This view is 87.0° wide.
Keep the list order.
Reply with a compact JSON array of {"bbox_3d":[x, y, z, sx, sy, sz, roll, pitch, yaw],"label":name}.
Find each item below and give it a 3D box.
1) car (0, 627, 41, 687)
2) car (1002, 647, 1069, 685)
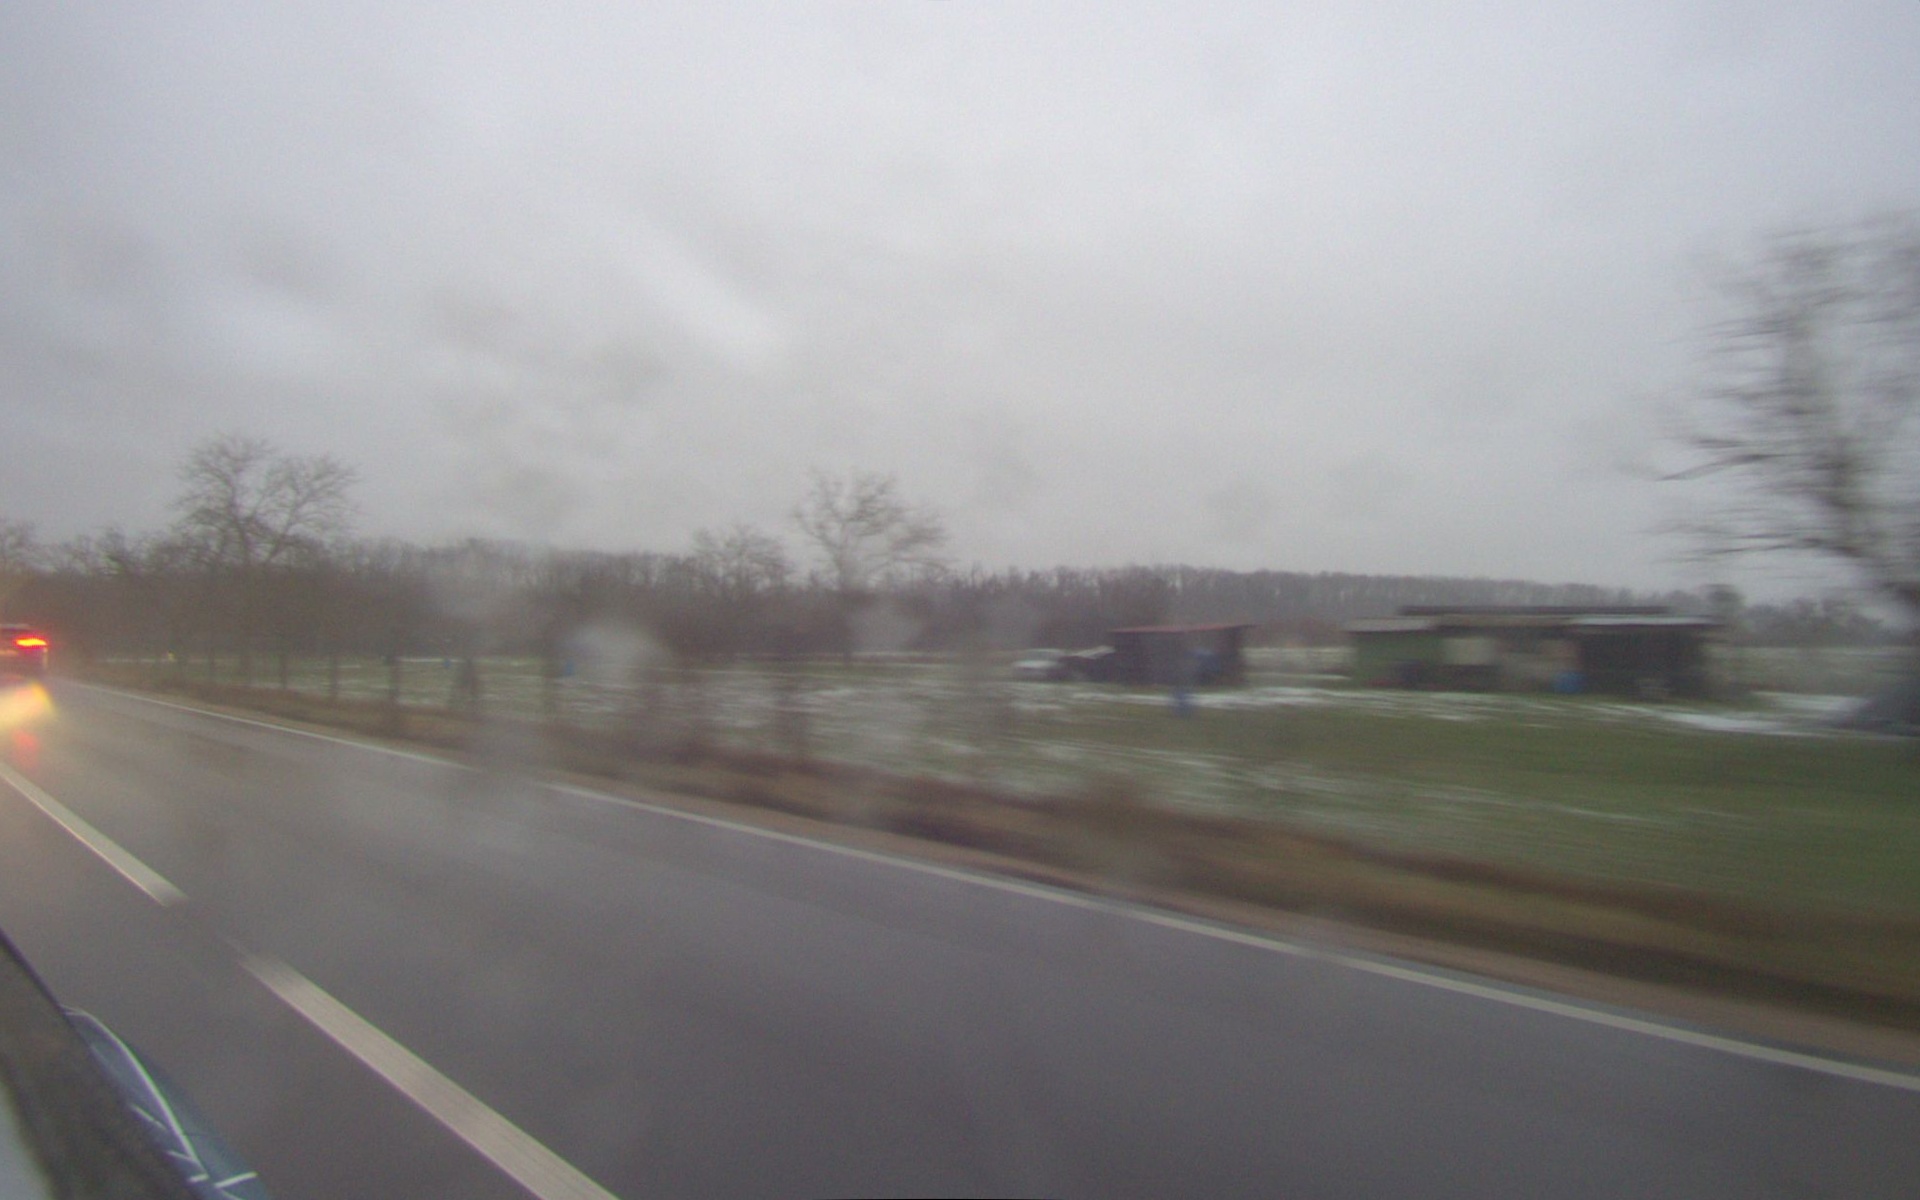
[{"bbox_3d":[-26.733,1.531,27.758,3.998,1.567,1.743,-2,-3,41],"label":"car"},{"bbox_3d":[3.201,2.737,42.414,1.591,1.352,3.421,-1,0,27],"label":"car"}]
